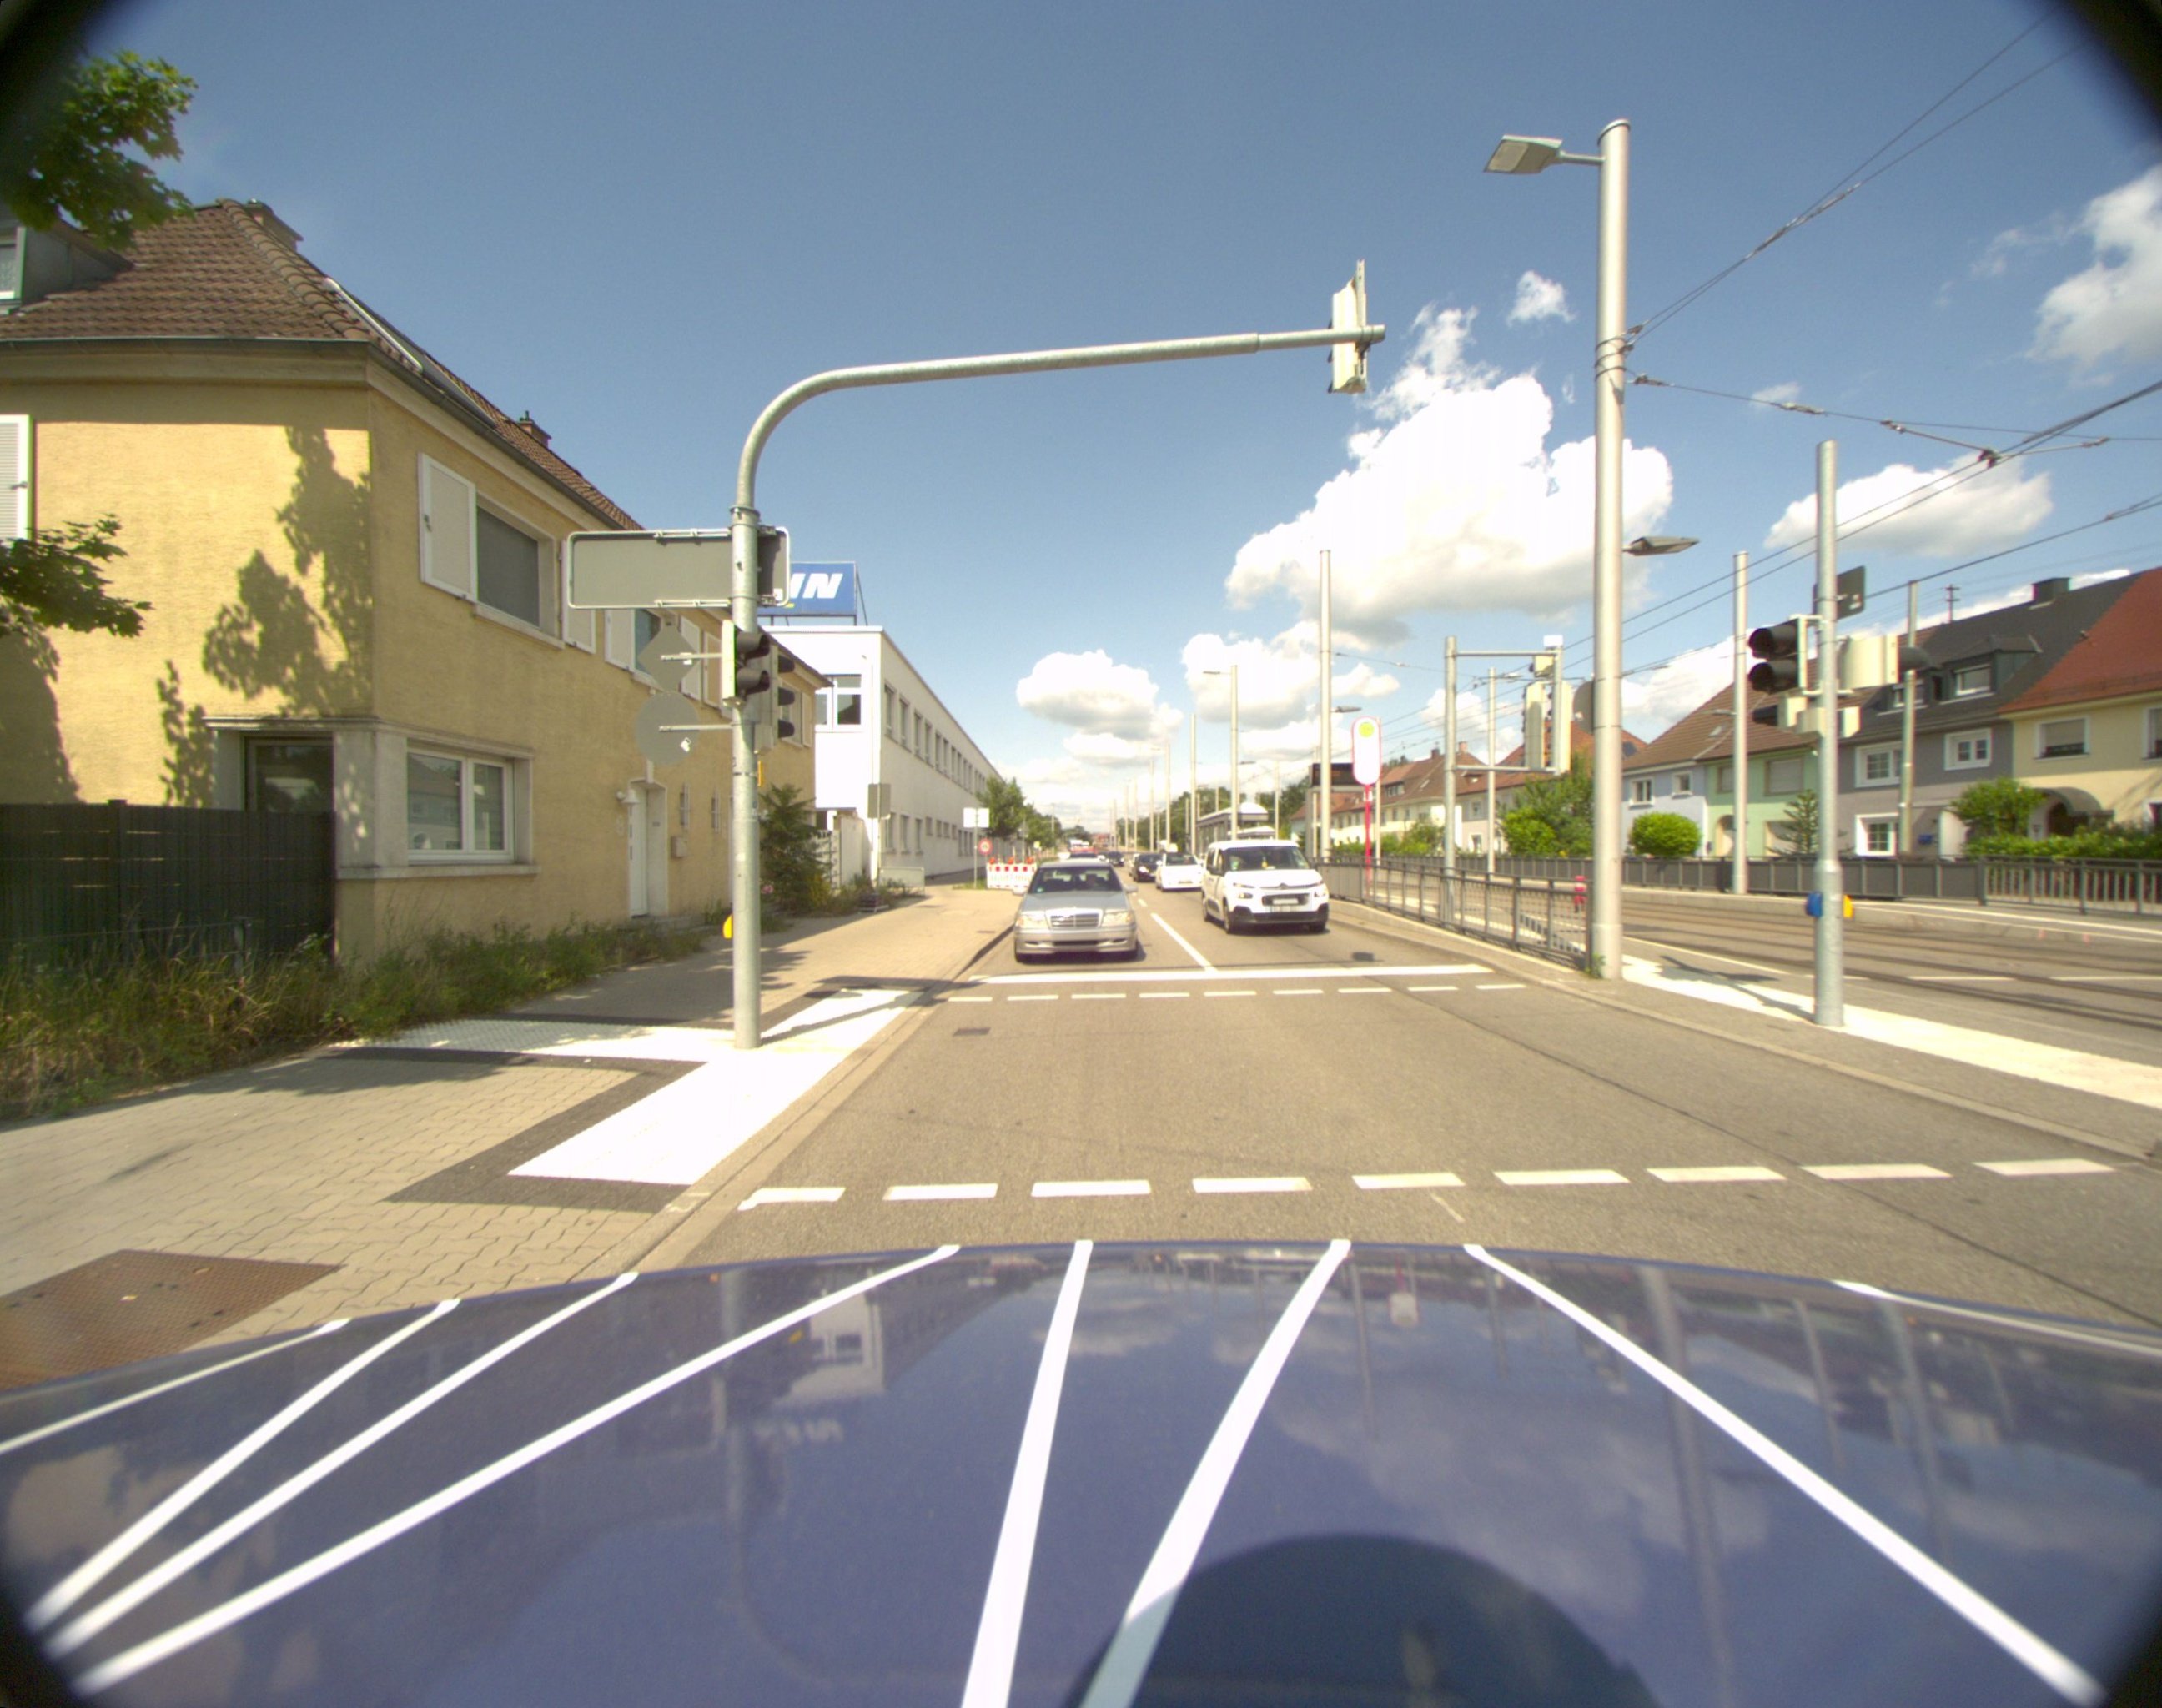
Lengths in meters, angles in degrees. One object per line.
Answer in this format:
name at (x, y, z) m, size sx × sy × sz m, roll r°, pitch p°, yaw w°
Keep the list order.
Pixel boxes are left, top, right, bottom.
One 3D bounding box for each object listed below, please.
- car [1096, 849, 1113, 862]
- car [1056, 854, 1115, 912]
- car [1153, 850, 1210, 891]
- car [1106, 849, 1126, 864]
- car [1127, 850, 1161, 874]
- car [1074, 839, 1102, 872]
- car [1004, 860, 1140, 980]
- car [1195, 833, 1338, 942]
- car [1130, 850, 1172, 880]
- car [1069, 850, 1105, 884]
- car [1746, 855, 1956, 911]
car at (2.732, 0.186, 89.633) m, size 1.698 × 1.350 × 4.498 m, roll -2°, pitch 1°, yaw -1°
car at (0.114, 0.829, 23.953) m, size 1.664 × 1.564 × 3.999 m, roll -2°, pitch 1°, yaw -1°
car at (3.933, 0.614, 30.265) m, size 1.680 × 1.495 × 3.392 m, roll -2°, pitch 1°, yaw -2°
car at (3.460, 0.242, 76.132) m, size 1.698 × 1.350 × 4.498 m, roll -2°, pitch 1°, yaw -1°
car at (3.979, 0.454, 48.464) m, size 1.698 × 1.350 × 4.498 m, roll -2°, pitch 1°, yaw -1°
car at (0.420, 0.041, 53.449) m, size 1.787 × 2.135 × 5.168 m, roll -2°, pitch 1°, yaw -1°
car at (-0.143, 0.877, 12.135) m, size 1.725 × 1.389 × 4.461 m, roll -2°, pitch 1°, yaw -1°
car at (3.499, 0.539, 15.149) m, size 1.799 × 1.805 × 4.329 m, roll -2°, pitch 1°, yaw 1°
car at (3.603, 0.531, 39.390) m, size 1.680 × 1.414 × 3.557 m, roll -2°, pitch 1°, yaw -2°
car at (0.263, 0.608, 38.521) m, size 1.664 × 1.530 × 3.999 m, roll -2°, pitch 1°, yaw -1°
car at (22.092, 0.759, 22.102) m, size 1.689 × 1.344 × 4.344 m, roll -2°, pitch 1°, yaw -1°
